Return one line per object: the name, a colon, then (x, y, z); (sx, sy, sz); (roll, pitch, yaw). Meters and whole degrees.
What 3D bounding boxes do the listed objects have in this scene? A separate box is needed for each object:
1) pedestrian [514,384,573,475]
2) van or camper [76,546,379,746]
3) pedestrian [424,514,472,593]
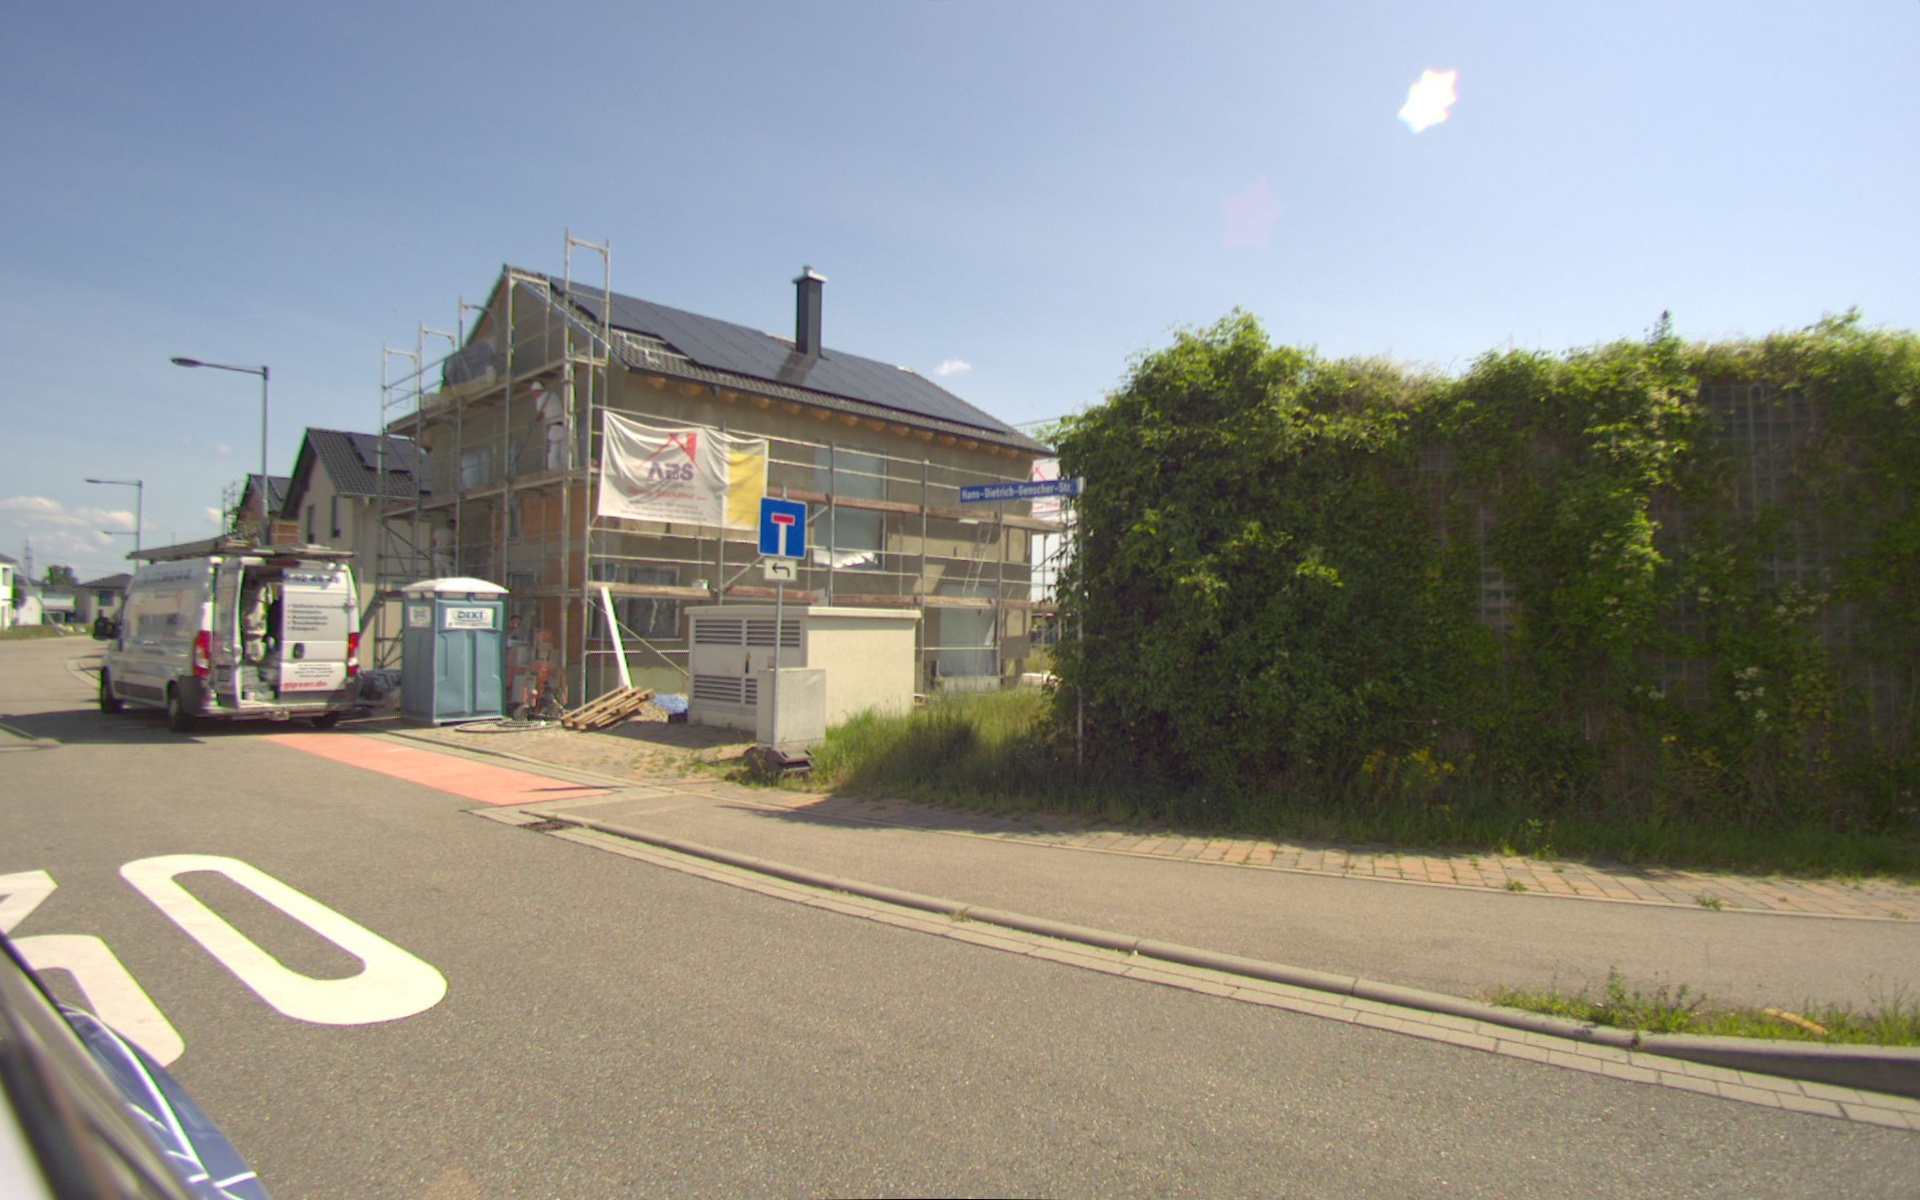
pedestrian: (-7.396, -3.015, 17.978); (0.740, 1.511, 0.562); (2, -1, 8)
van or camper: (-11.688, 0.630, 15.917); (6.361, 2.573, 2.250); (0, -2, 39)
pedestrian: (-11.289, -1.008, 22.326); (0.578, 1.692, 0.738); (1, -1, 41)
